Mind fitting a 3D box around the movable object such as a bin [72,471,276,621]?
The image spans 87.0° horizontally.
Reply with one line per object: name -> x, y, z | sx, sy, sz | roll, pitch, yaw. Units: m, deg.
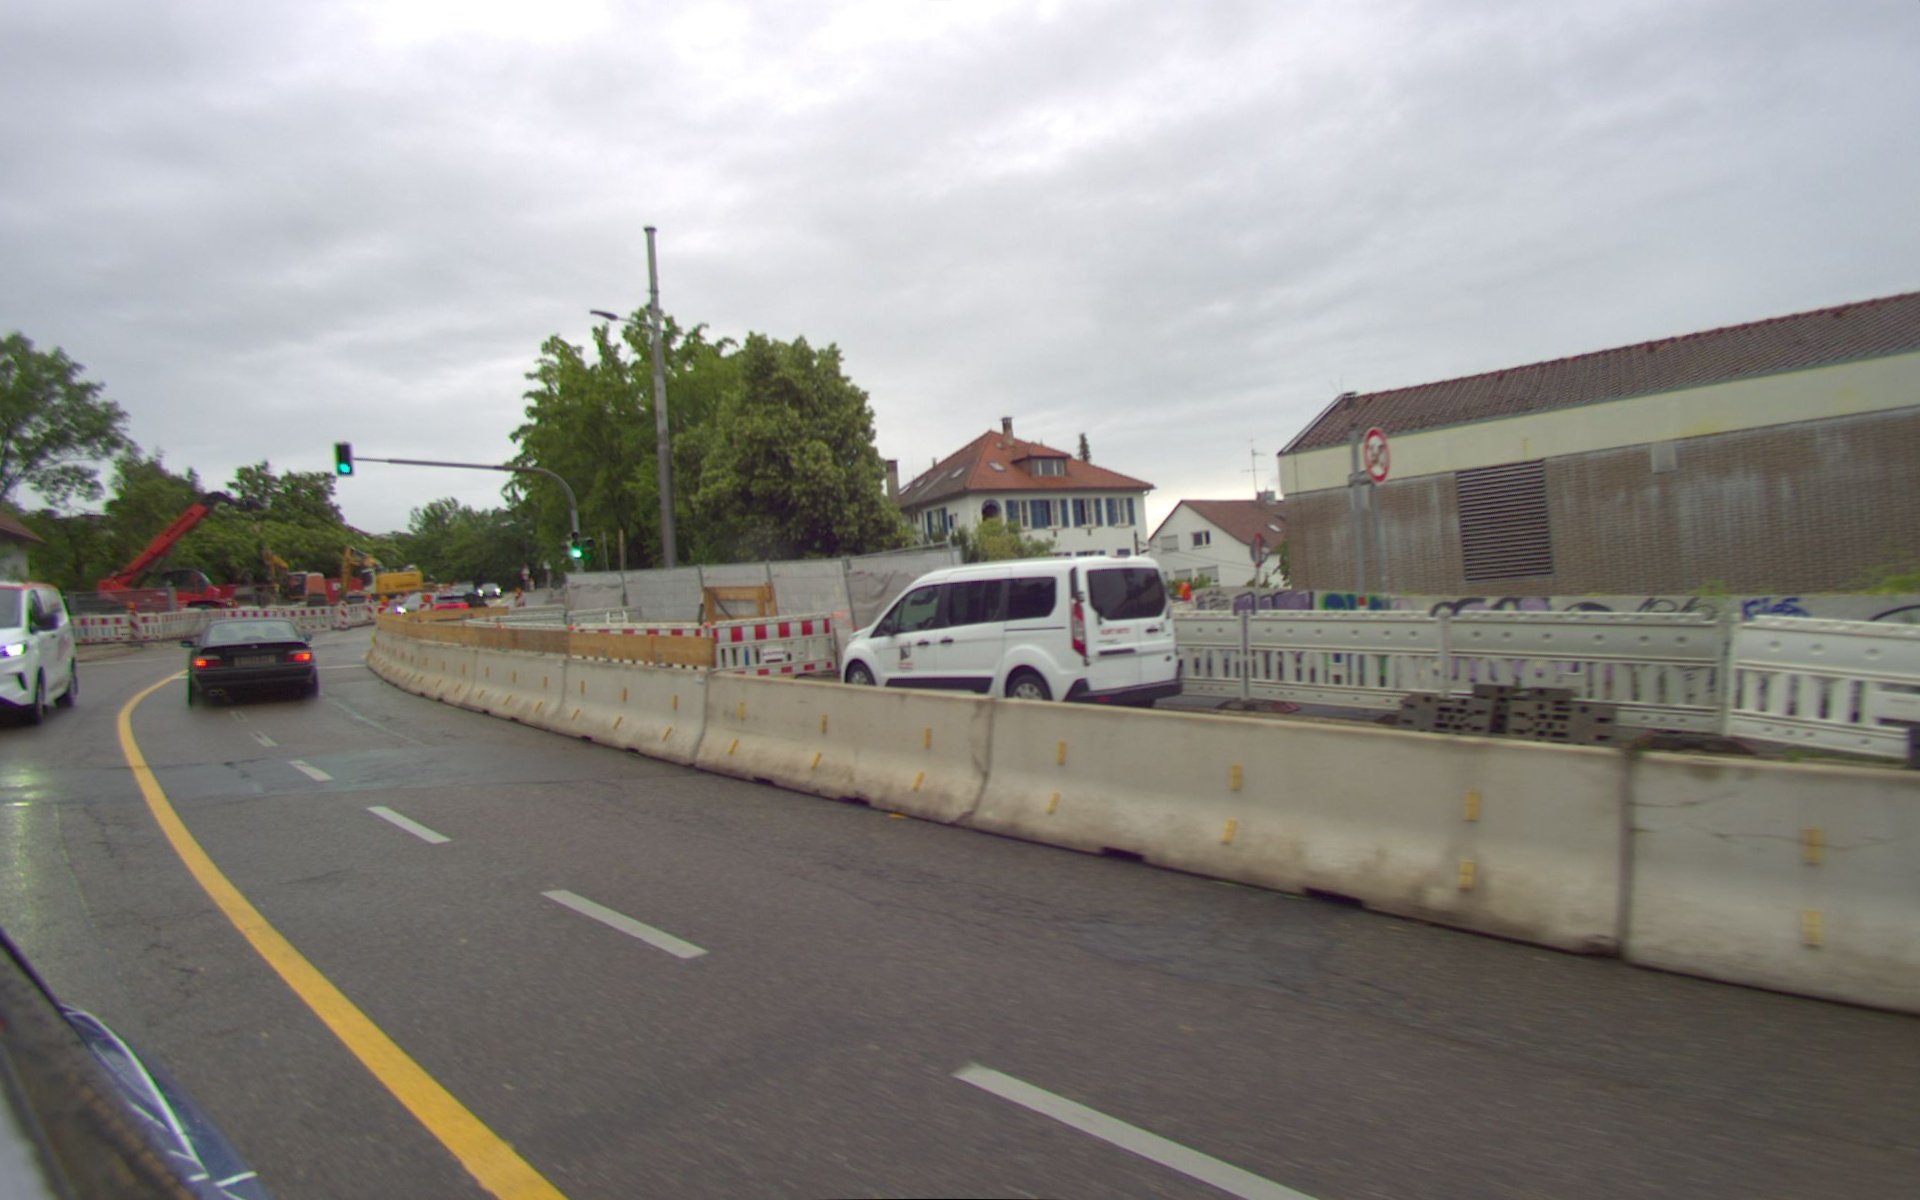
movable object such as a bin -> -37.722, -2.663, 48.953 | 6.853, 6.738, 3.056 | -4, 3, -25

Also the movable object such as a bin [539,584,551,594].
movable object such as a bin -> -47.079, -1.236, 114.823 | 0.974, 1.115, 1.029 | -3, 0, -41

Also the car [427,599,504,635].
car -> -22.607, 0.737, 46.440 | 1.761, 1.413, 4.373 | -3, 1, -7

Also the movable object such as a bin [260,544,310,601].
movable object such as a bin -> -49.136, -1.974, 73.779 | 1.966, 3.917, 4.632 | -5, 2, -23

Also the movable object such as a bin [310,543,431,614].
movable object such as a bin -> -44.262, -1.652, 75.823 | 10.788, 4.953, 3.034 | 1, 5, 33

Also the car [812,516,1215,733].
car -> 0.372, 0.512, 12.004 | 1.968, 2.029, 4.814 | 4, -8, -40

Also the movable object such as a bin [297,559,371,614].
movable object such as a bin -> -42.541, -0.923, 68.891 | 3.933, 3.228, 2.414 | -6, -3, -30

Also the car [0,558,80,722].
car -> -13.871, 0.504, 14.086 | 1.967, 2.029, 4.961 | 0, 0, -35

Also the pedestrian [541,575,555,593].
pedestrian -> -44.328, -1.730, 108.960 | 0.979, 1.781, 0.914 | -3, 1, 40

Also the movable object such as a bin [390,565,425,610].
movable object such as a bin -> -43.813, -1.030, 80.344 | 1.966, 3.328, 3.849 | -4, 5, -25

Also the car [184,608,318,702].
car -> -11.847, 0.824, 16.862 | 1.626, 1.321, 4.273 | 1, -1, -37
